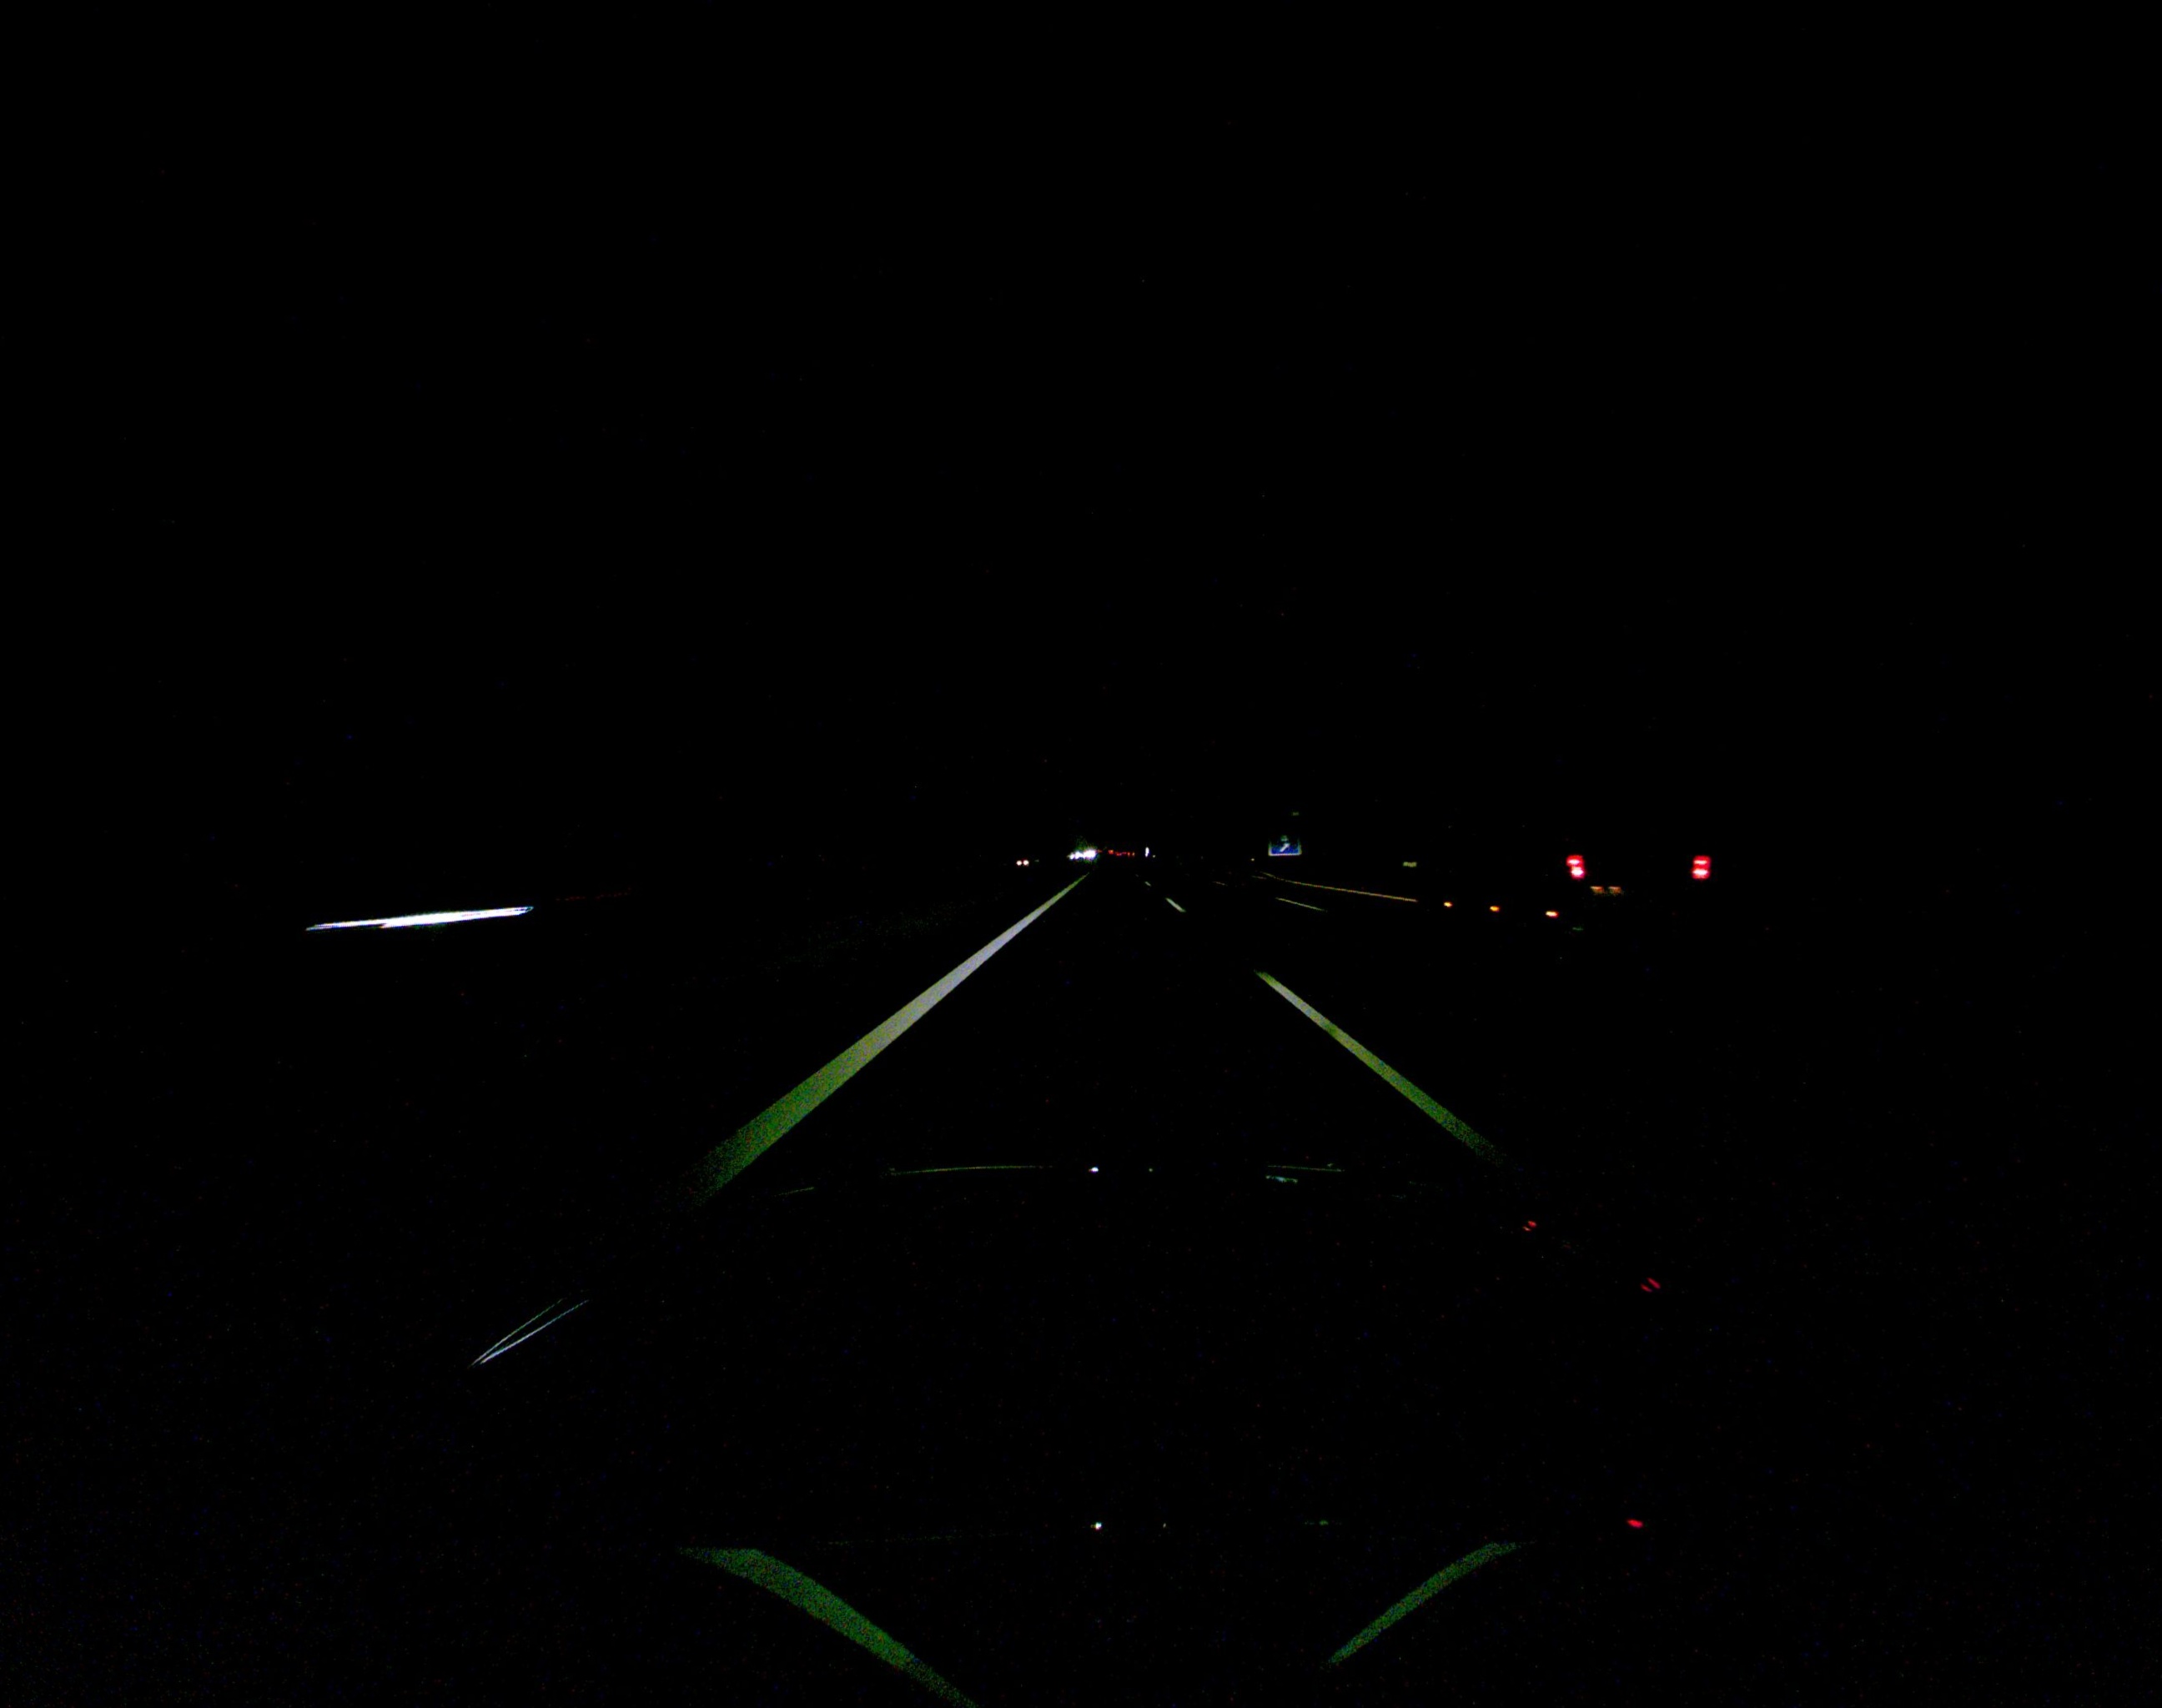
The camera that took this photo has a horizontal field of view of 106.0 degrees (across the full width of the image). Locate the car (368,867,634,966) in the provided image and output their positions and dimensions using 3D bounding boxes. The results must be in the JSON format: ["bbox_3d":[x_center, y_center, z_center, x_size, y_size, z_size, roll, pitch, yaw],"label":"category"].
[{"bbox_3d":[-12.314,1.222,17.866,1.986,1.638,5.077,-4,0,2],"label":"car"}]

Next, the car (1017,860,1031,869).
[{"bbox_3d":[-10.875,2.052,155.476,1.986,1.551,5.006,-5,0,2],"label":"car"}]

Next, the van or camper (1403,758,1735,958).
[{"bbox_3d":[8.133,0.044,14.747,2.198,2.771,6.809,0,0,3],"label":"van or camper"}]
